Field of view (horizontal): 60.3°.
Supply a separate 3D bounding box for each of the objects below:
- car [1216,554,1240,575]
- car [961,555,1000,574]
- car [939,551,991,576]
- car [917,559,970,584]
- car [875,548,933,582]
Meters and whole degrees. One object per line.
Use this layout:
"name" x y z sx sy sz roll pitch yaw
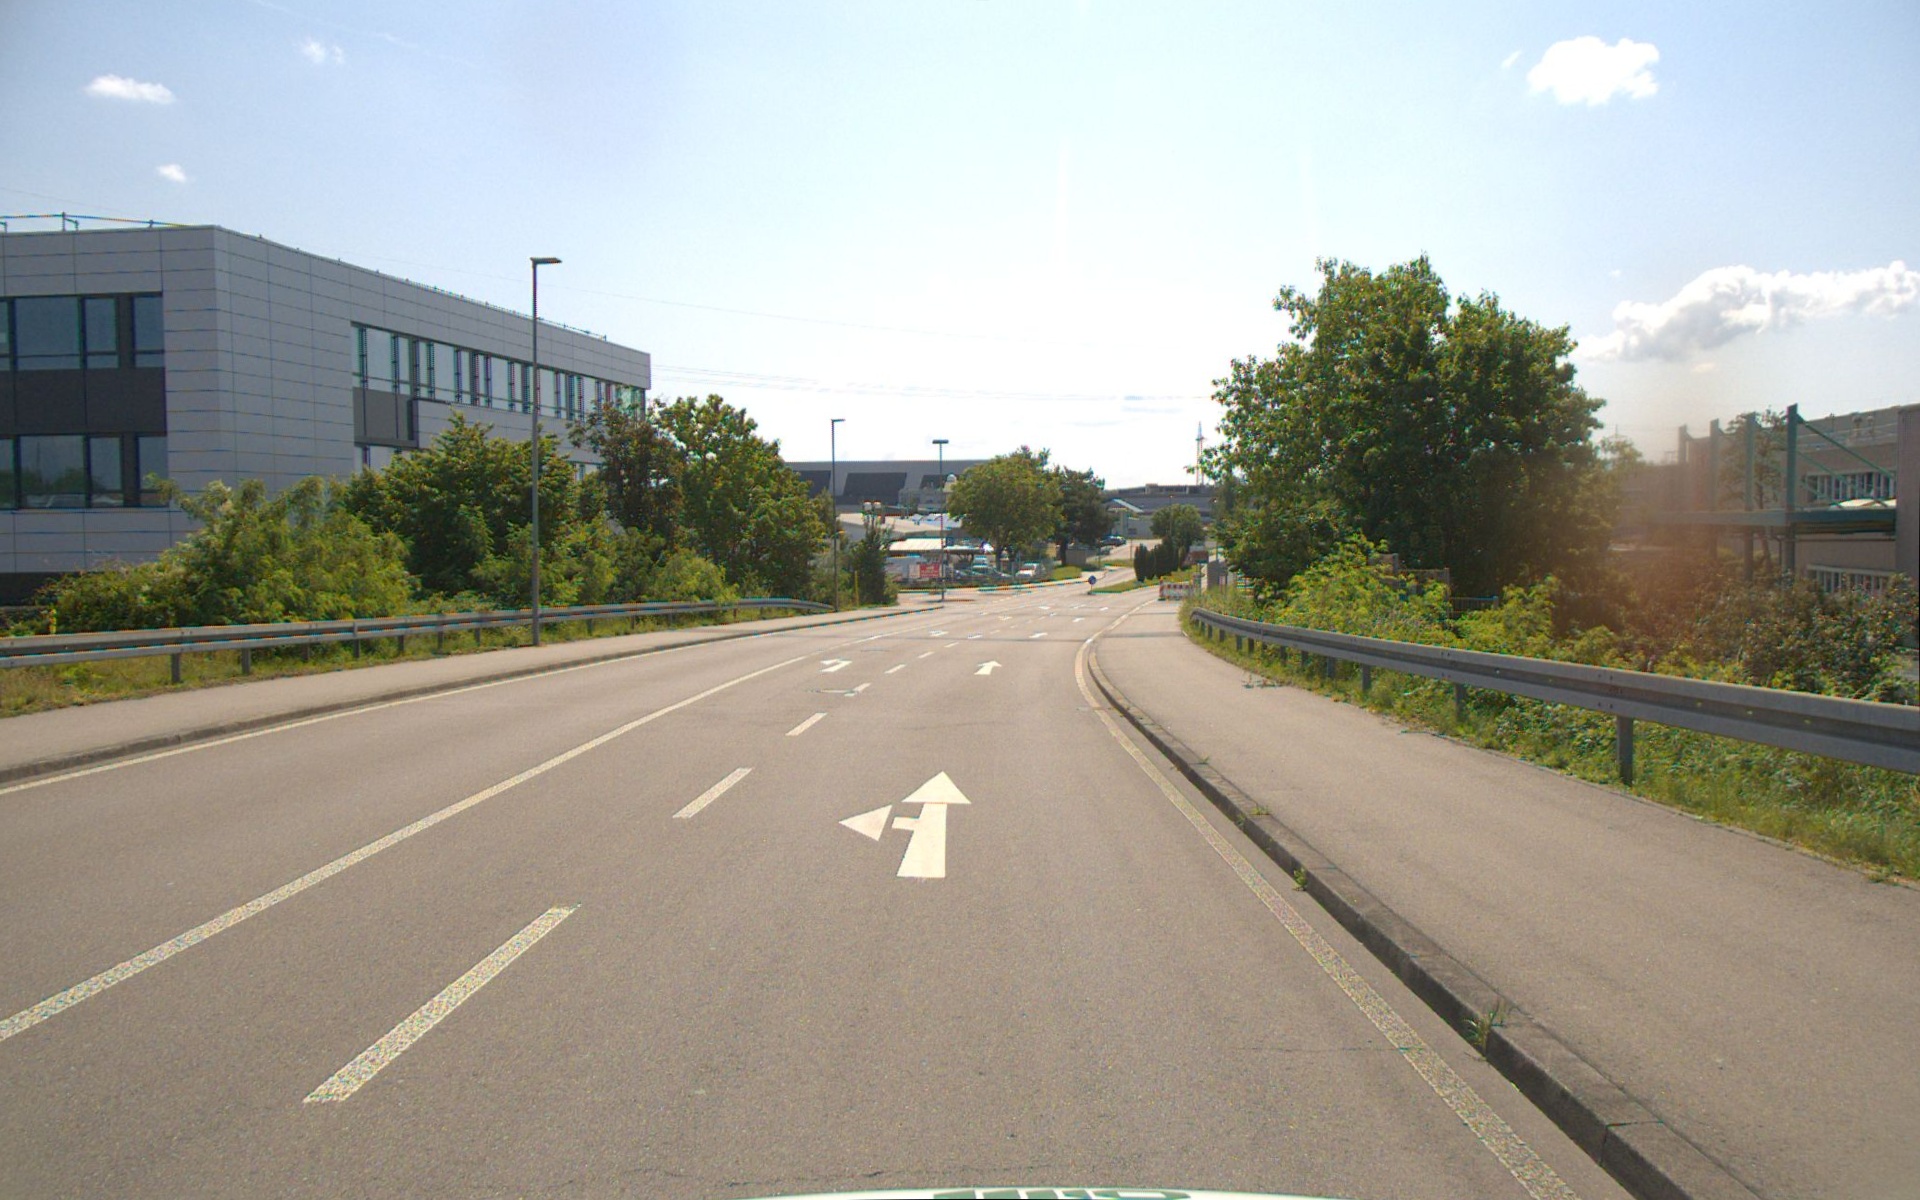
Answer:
"car" 27.474 -3.654 169.486 2.223 1.980 4.670 3 2 10
"car" 2.043 -3.602 169.071 3.907 1.882 1.834 0 2 -2
"car" 0.441 -3.050 137.209 3.920 1.936 1.993 3 4 36
"car" -1.307 -2.322 133.770 3.922 1.811 1.992 3 4 37
"car" -4.456 -2.770 131.200 4.280 2.653 1.992 1 1 37
